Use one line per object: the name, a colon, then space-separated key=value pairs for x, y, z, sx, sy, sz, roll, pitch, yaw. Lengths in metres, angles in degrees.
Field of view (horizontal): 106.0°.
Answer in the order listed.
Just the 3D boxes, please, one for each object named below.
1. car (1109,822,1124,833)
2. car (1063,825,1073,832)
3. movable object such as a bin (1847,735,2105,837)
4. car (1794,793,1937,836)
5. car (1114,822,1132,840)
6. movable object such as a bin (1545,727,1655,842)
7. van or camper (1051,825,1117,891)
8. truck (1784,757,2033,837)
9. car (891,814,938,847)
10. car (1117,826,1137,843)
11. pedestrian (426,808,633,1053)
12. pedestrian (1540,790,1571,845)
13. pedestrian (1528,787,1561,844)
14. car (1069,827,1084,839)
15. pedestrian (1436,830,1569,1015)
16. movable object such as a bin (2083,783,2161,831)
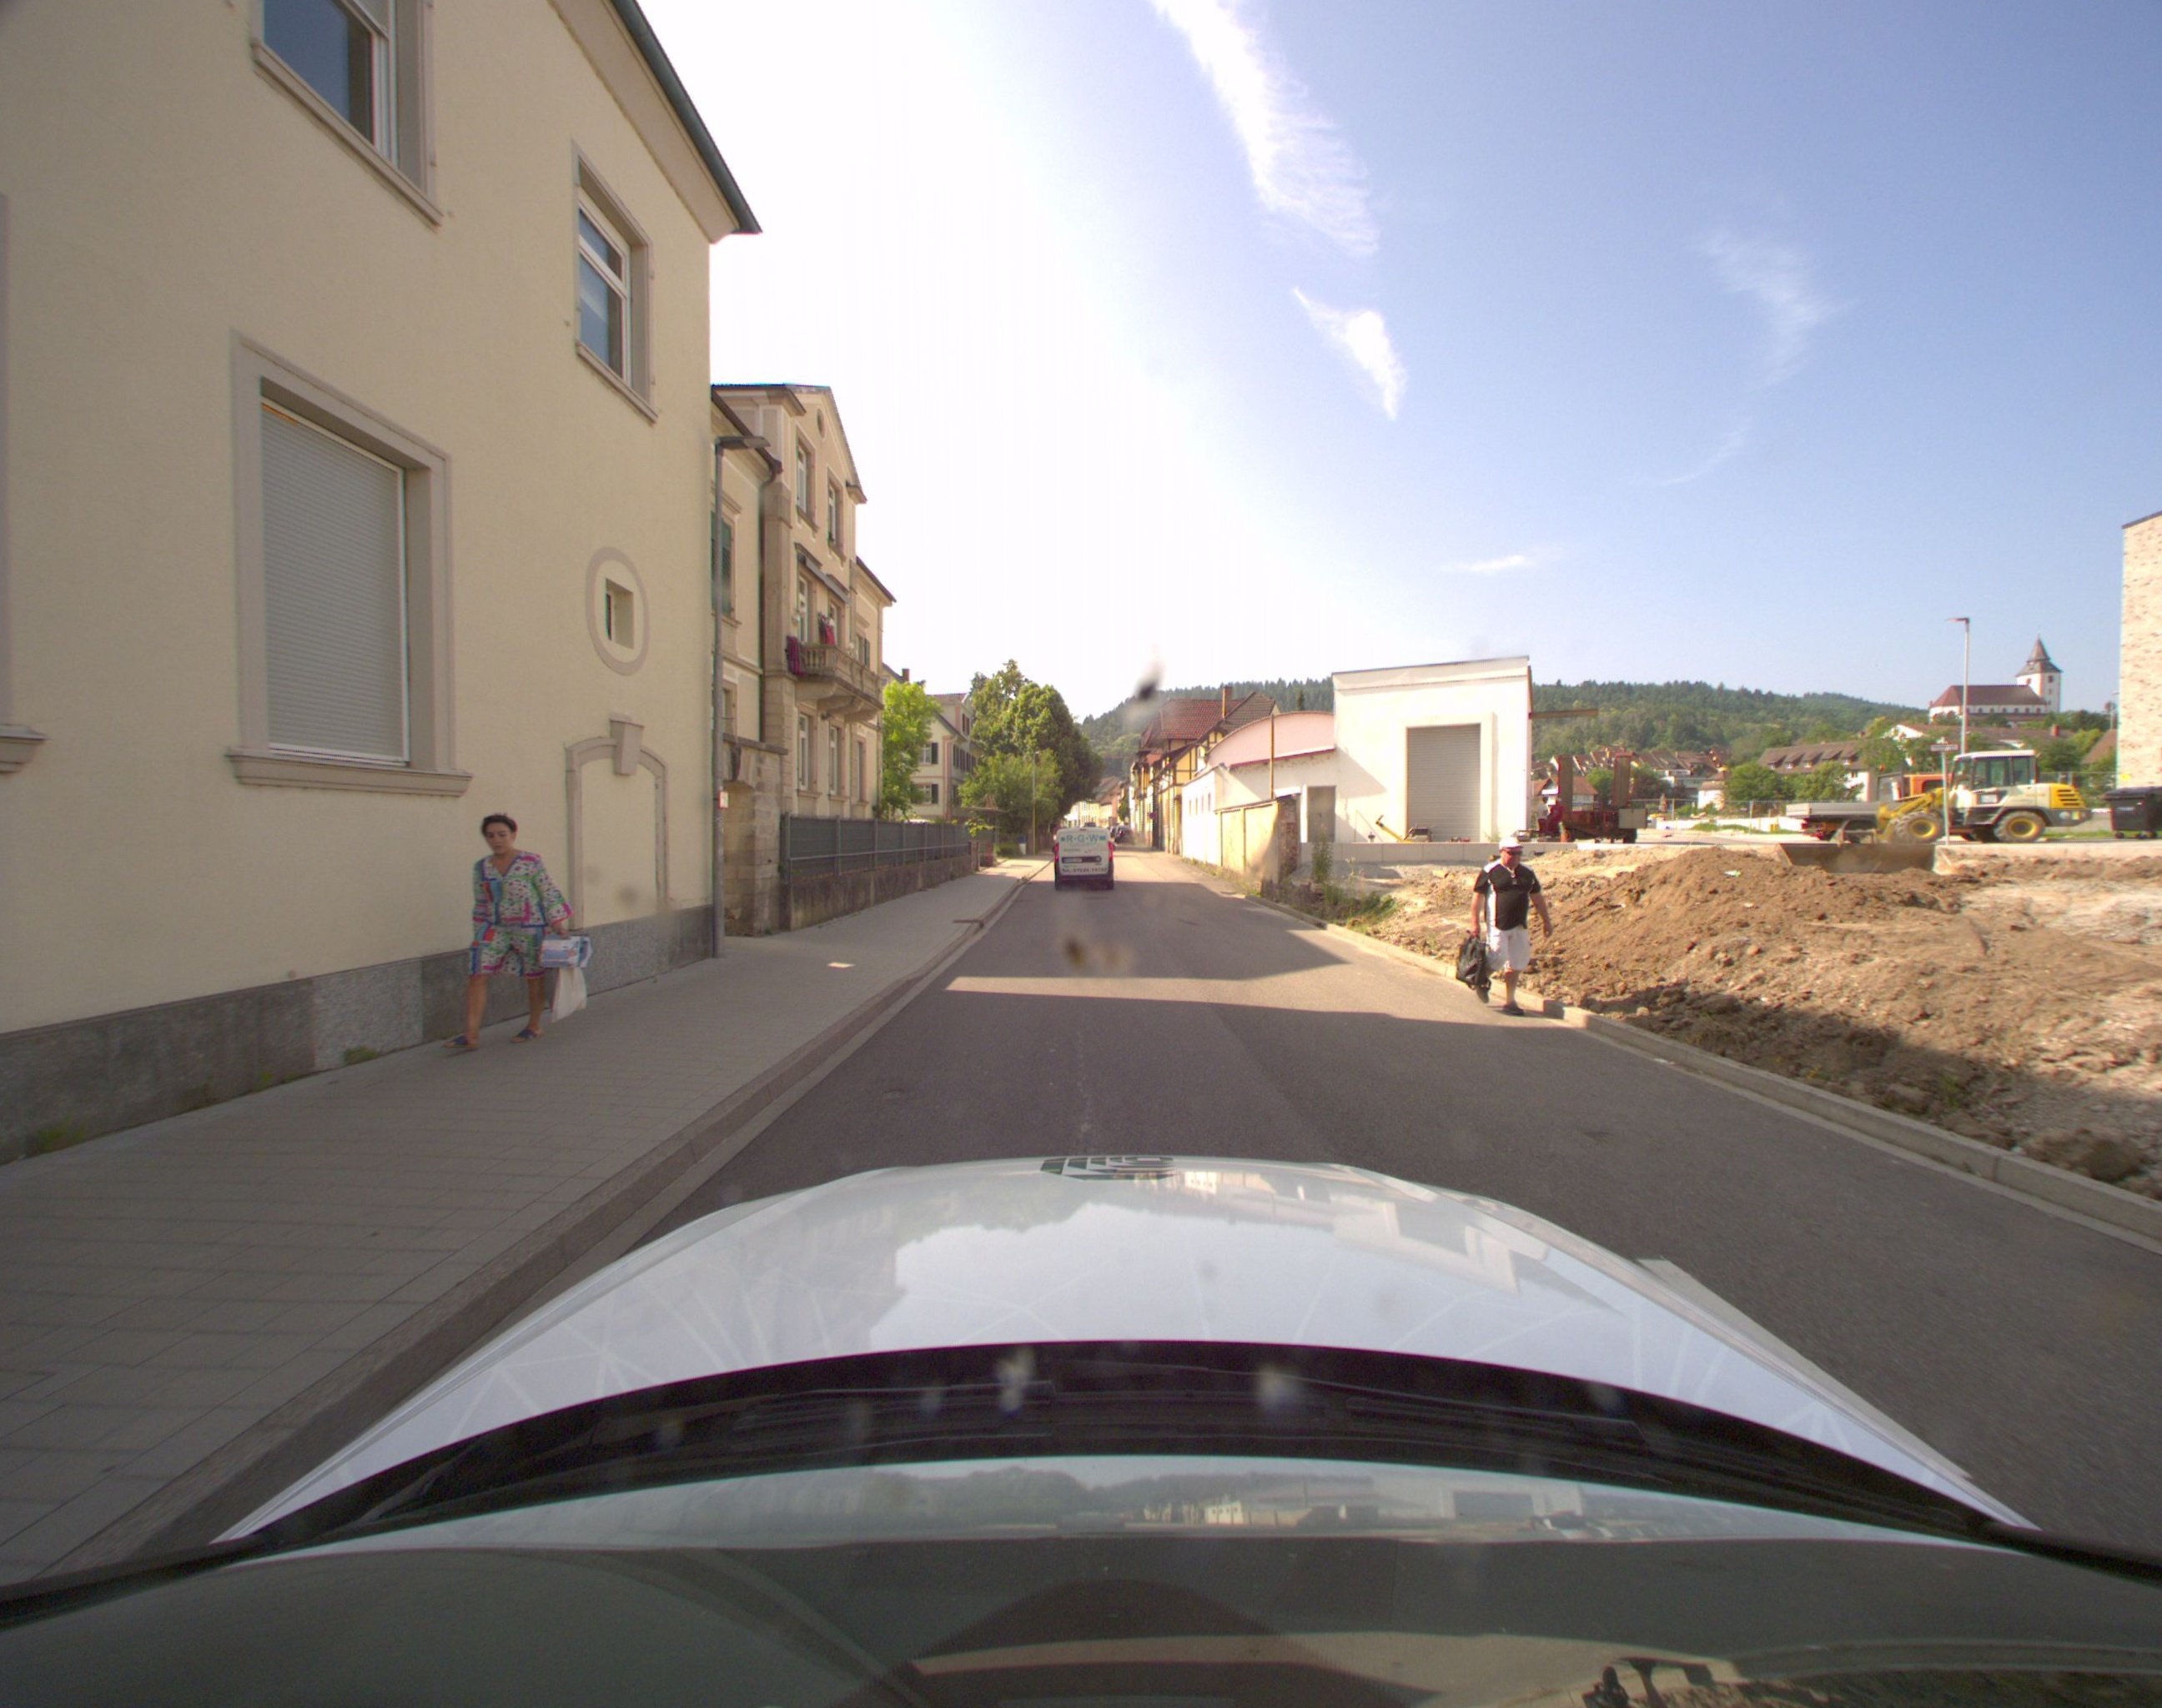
car: x=4.819 y=-3.600 z=110.962 sx=1.665 sy=1.507 sz=3.999 roll=-1 pitch=2 yaw=-1
car: x=-3.254 y=-6.424 z=204.008 sx=1.772 sy=1.798 sz=3.986 roll=0 pitch=2 yaw=-11
movable object such as a bin: x=25.443 y=-1.836 z=23.422 sx=4.569 sy=2.569 sz=1.937 roll=-1 pitch=1 yaw=26
car: x=30.027 y=-1.481 z=31.332 sx=3.717 sy=1.517 sz=1.511 roll=0 pitch=0 yaw=31
car: x=4.881 y=-2.691 z=94.496 sx=1.865 sy=2.013 sz=4.001 roll=1 pitch=2 yaw=0
movable object such as a bin: x=18.424 y=-2.313 z=28.775 sx=2.823 sy=3.621 sz=5.773 roll=4 pitch=3 yaw=35
van or camper: x=0.072 y=0.041 z=25.444 sx=1.822 sy=1.844 sz=4.188 roll=-2 pitch=2 yaw=0
truck: x=26.787 y=-1.779 z=26.682 sx=5.265 sy=2.265 sz=2.232 roll=-1 pitch=1 yaw=26
car: x=-10.042 y=-1.451 z=49.451 sx=1.817 sy=1.772 sz=4.681 roll=3 pitch=2 yaw=-1
car: x=4.732 y=-2.013 z=84.316 sx=1.804 sy=1.596 sz=3.928 roll=2 pitch=2 yaw=1
pedestrian: x=-3.901 y=0.508 z=5.832 sx=0.955 sy=1.631 sz=0.758 roll=1 pitch=1 yaw=-1
pedestrian: x=16.587 y=-1.270 z=28.469 sx=0.610 sy=1.896 sz=0.629 roll=0 pitch=3 yaw=-33
pedestrian: x=15.772 y=-1.323 z=27.722 sx=0.608 sy=1.896 sz=0.632 roll=1 pitch=2 yaw=-20
car: x=-1.086 y=-4.952 z=191.007 sx=2.872 sy=2.835 sz=6.110 roll=-1 pitch=2 yaw=-7
pedestrian: x=4.047 y=0.628 z=7.878 sx=0.885 sy=1.683 sz=0.718 roll=1 pitch=0 yaw=0
movable object such as a bin: x=29.378 y=-1.301 z=22.667 sx=1.288 sy=1.267 sz=1.324 roll=2 pitch=2 yaw=11
